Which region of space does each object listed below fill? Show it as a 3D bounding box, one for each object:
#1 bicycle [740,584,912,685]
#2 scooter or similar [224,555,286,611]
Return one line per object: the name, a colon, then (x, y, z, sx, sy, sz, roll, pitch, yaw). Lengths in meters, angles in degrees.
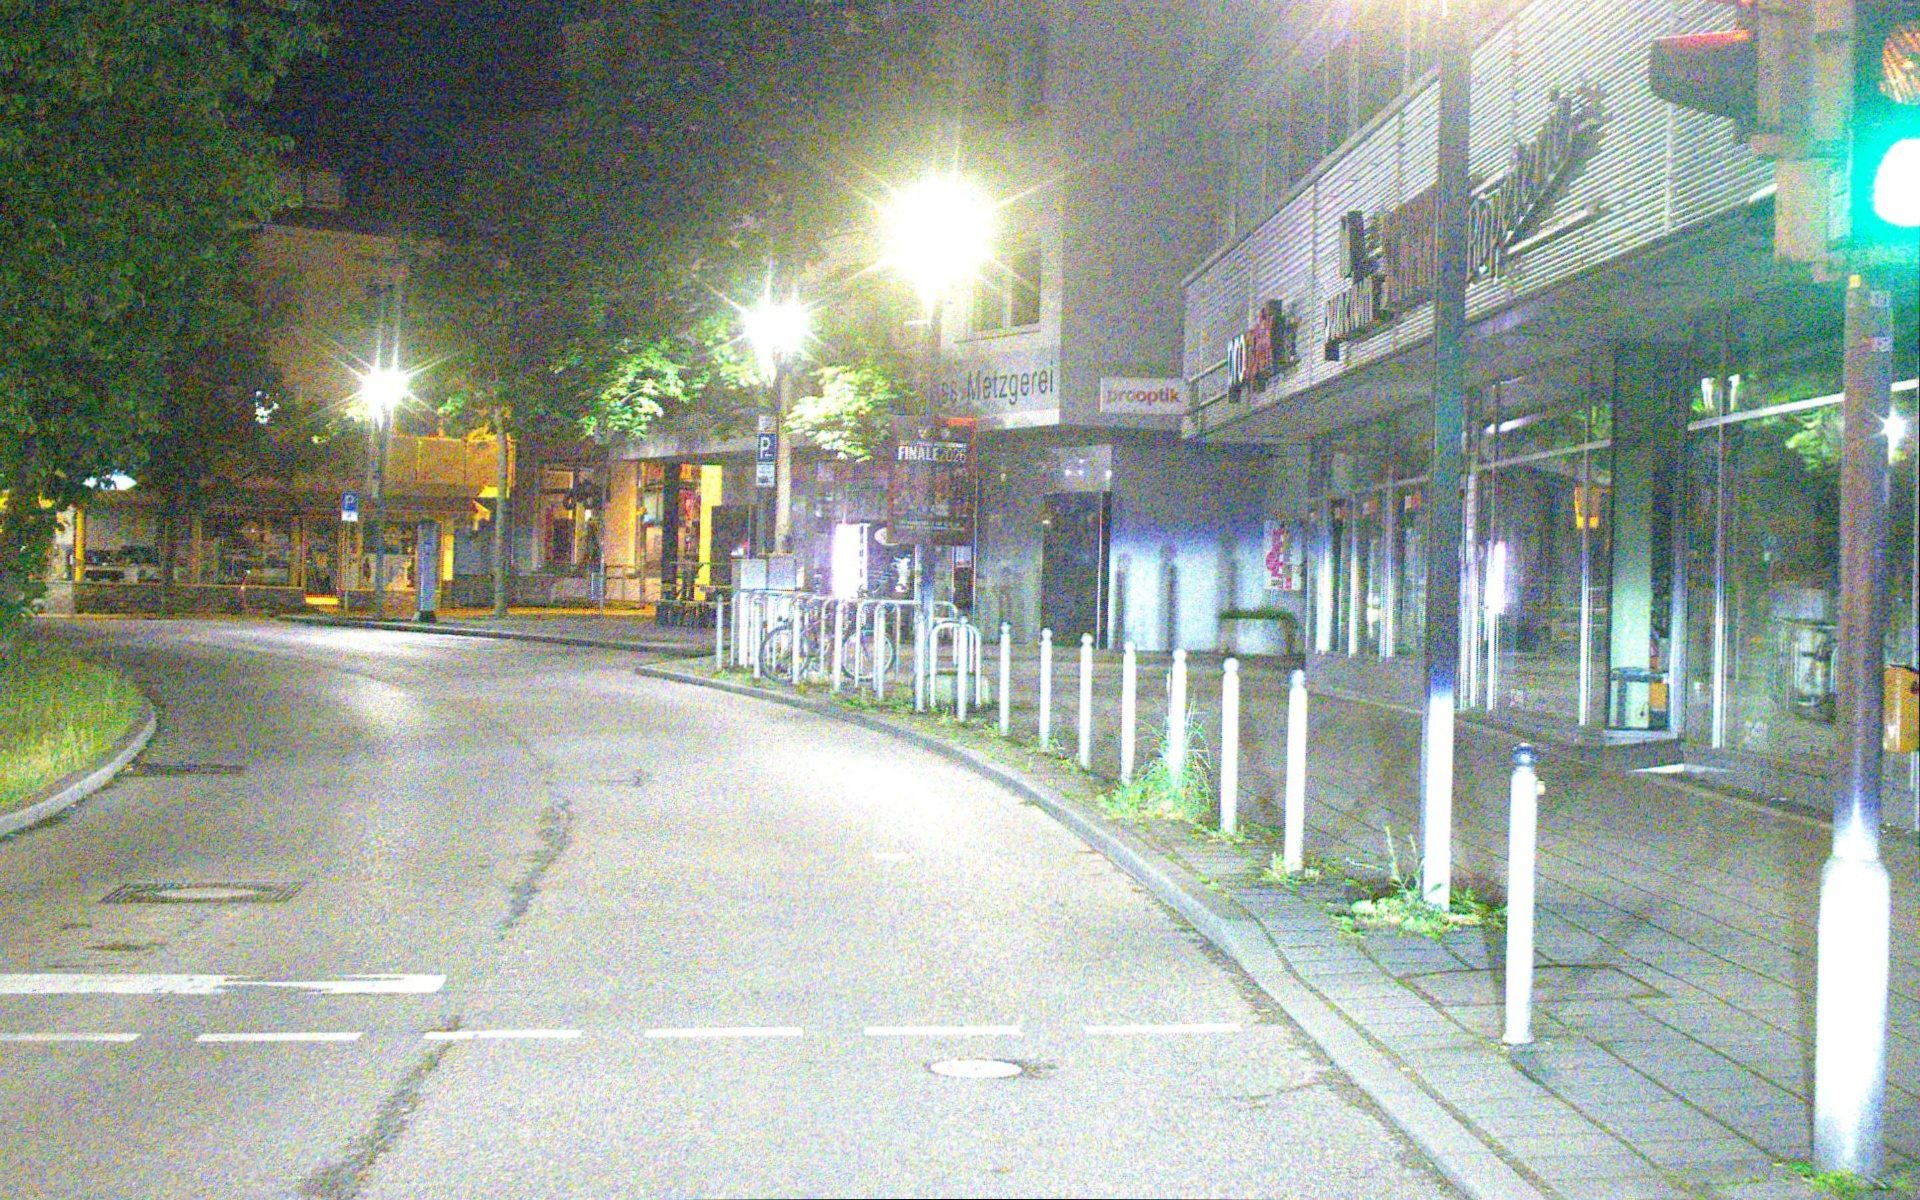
bicycle: (-1.470, 0.381, 37.869, 1.749, 1.059, 0.656, 1, 1, -26)
scooter or similar: (-16.439, -0.394, 80.121, 1.246, 1.223, 0.598, 2, 1, -29)
